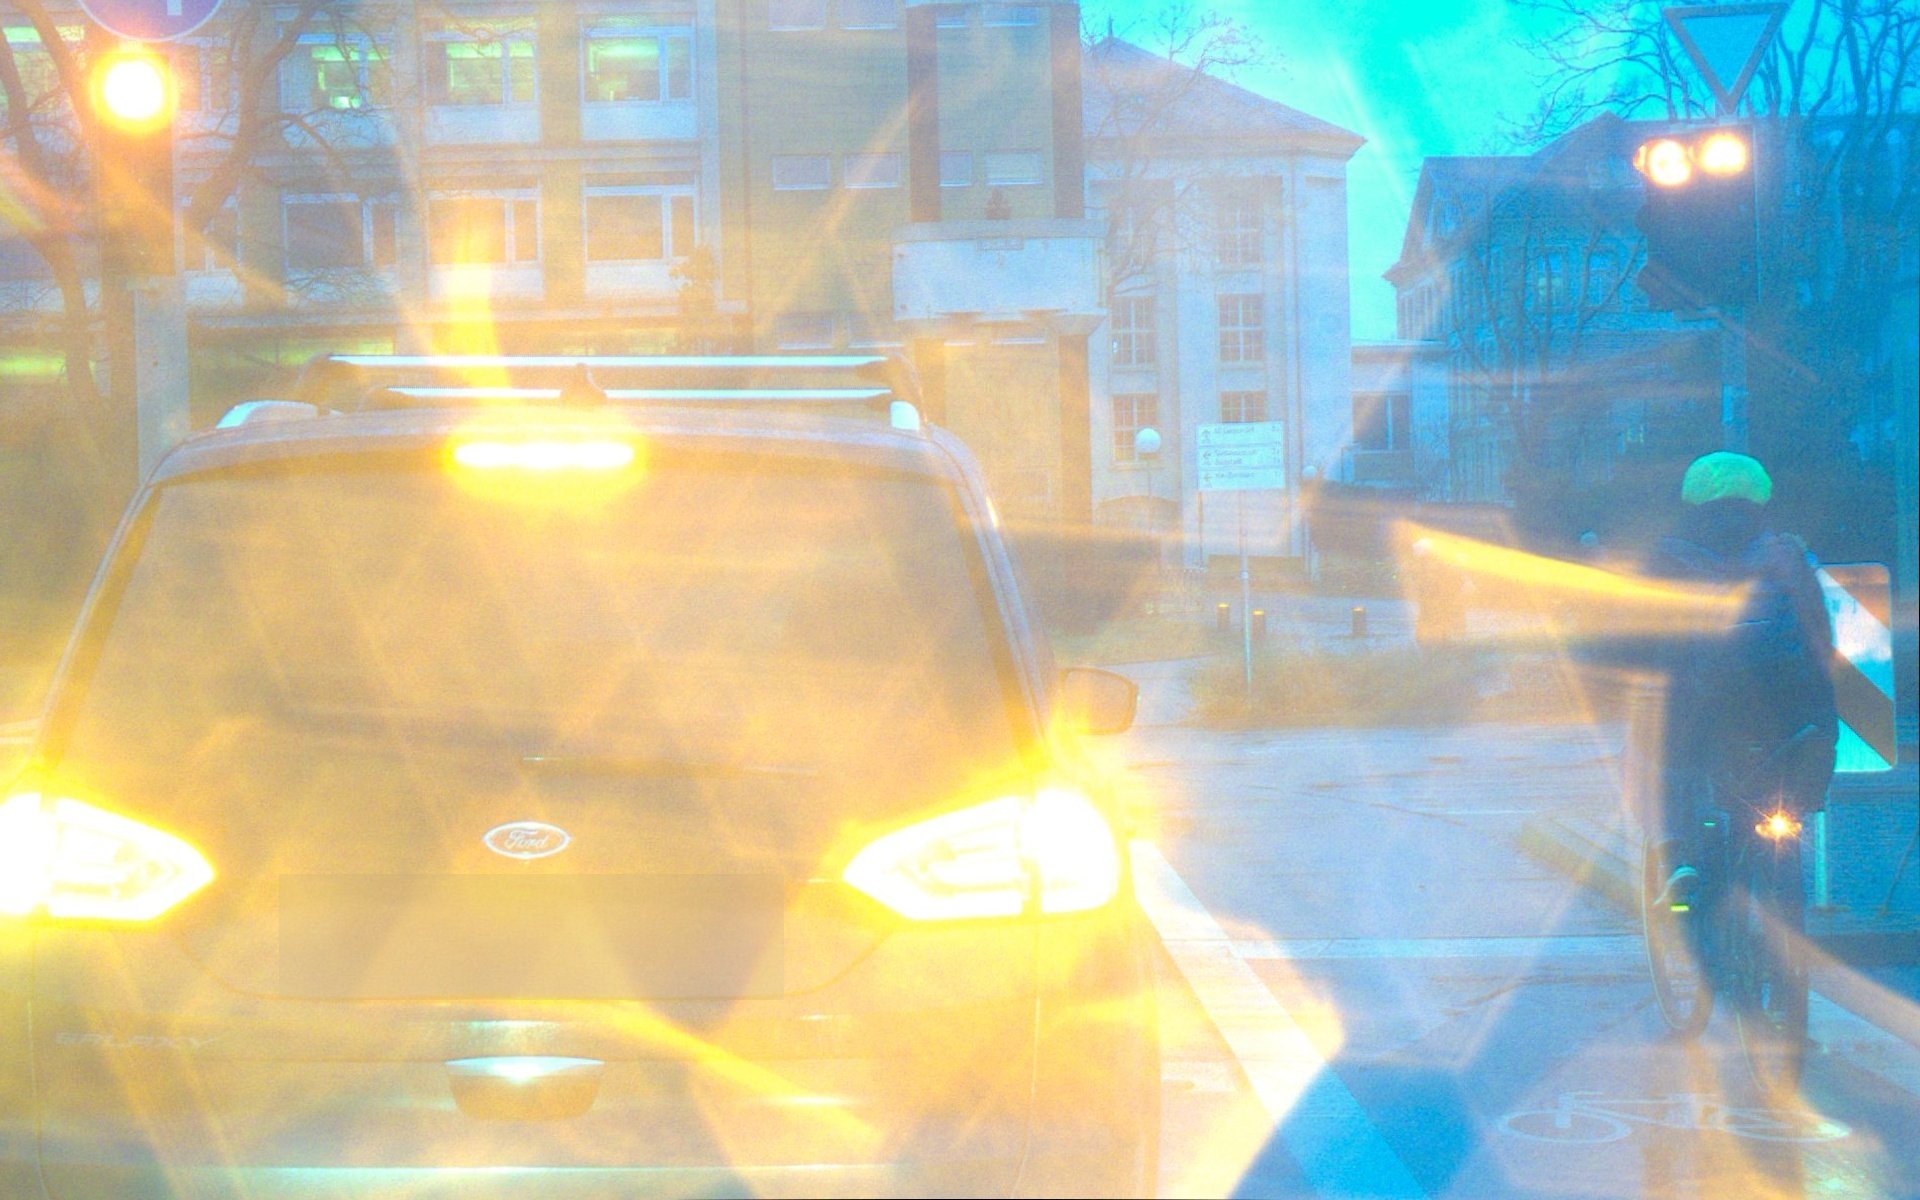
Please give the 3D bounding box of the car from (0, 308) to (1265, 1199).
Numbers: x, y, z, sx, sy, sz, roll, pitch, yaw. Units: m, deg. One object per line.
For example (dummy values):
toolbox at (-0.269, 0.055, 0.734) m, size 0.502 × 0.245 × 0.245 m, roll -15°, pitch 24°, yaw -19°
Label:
car at (-0.627, 0.495, 6.557) m, size 1.993 × 1.783 × 4.000 m, roll 1°, pitch 1°, yaw -1°

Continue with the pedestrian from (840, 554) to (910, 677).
pedestrian at (-1.154, 0.208, 46.688) m, size 0.759 × 1.622 × 0.722 m, roll -2°, pitch 1°, yaw -13°

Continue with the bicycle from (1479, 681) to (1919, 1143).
bicycle at (1.993, 0.798, 9.512) m, size 0.783 × 1.071 × 1.957 m, roll 1°, pitch 1°, yaw -1°

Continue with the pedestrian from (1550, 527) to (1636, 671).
pedestrian at (8.113, -0.023, 44.074) m, size 0.997 × 1.793 × 0.919 m, roll -2°, pitch 1°, yaw 9°

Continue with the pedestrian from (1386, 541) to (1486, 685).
pedestrian at (5.923, 0.154, 42.698) m, size 1.136 × 1.714 × 0.981 m, roll -2°, pitch 1°, yaw 10°

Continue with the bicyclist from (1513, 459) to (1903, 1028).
bicyclist at (2.008, 0.363, 9.373) m, size 0.783 × 1.448 × 1.134 m, roll 1°, pitch 0°, yaw -1°

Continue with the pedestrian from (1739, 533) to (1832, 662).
pedestrian at (10.168, -0.039, 42.368) m, size 0.924 × 1.527 × 1.043 m, roll -2°, pitch 1°, yaw 4°

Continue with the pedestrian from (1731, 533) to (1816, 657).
pedestrian at (10.309, -0.069, 43.579) m, size 0.893 × 1.527 × 0.886 m, roll -2°, pitch 1°, yaw 6°
